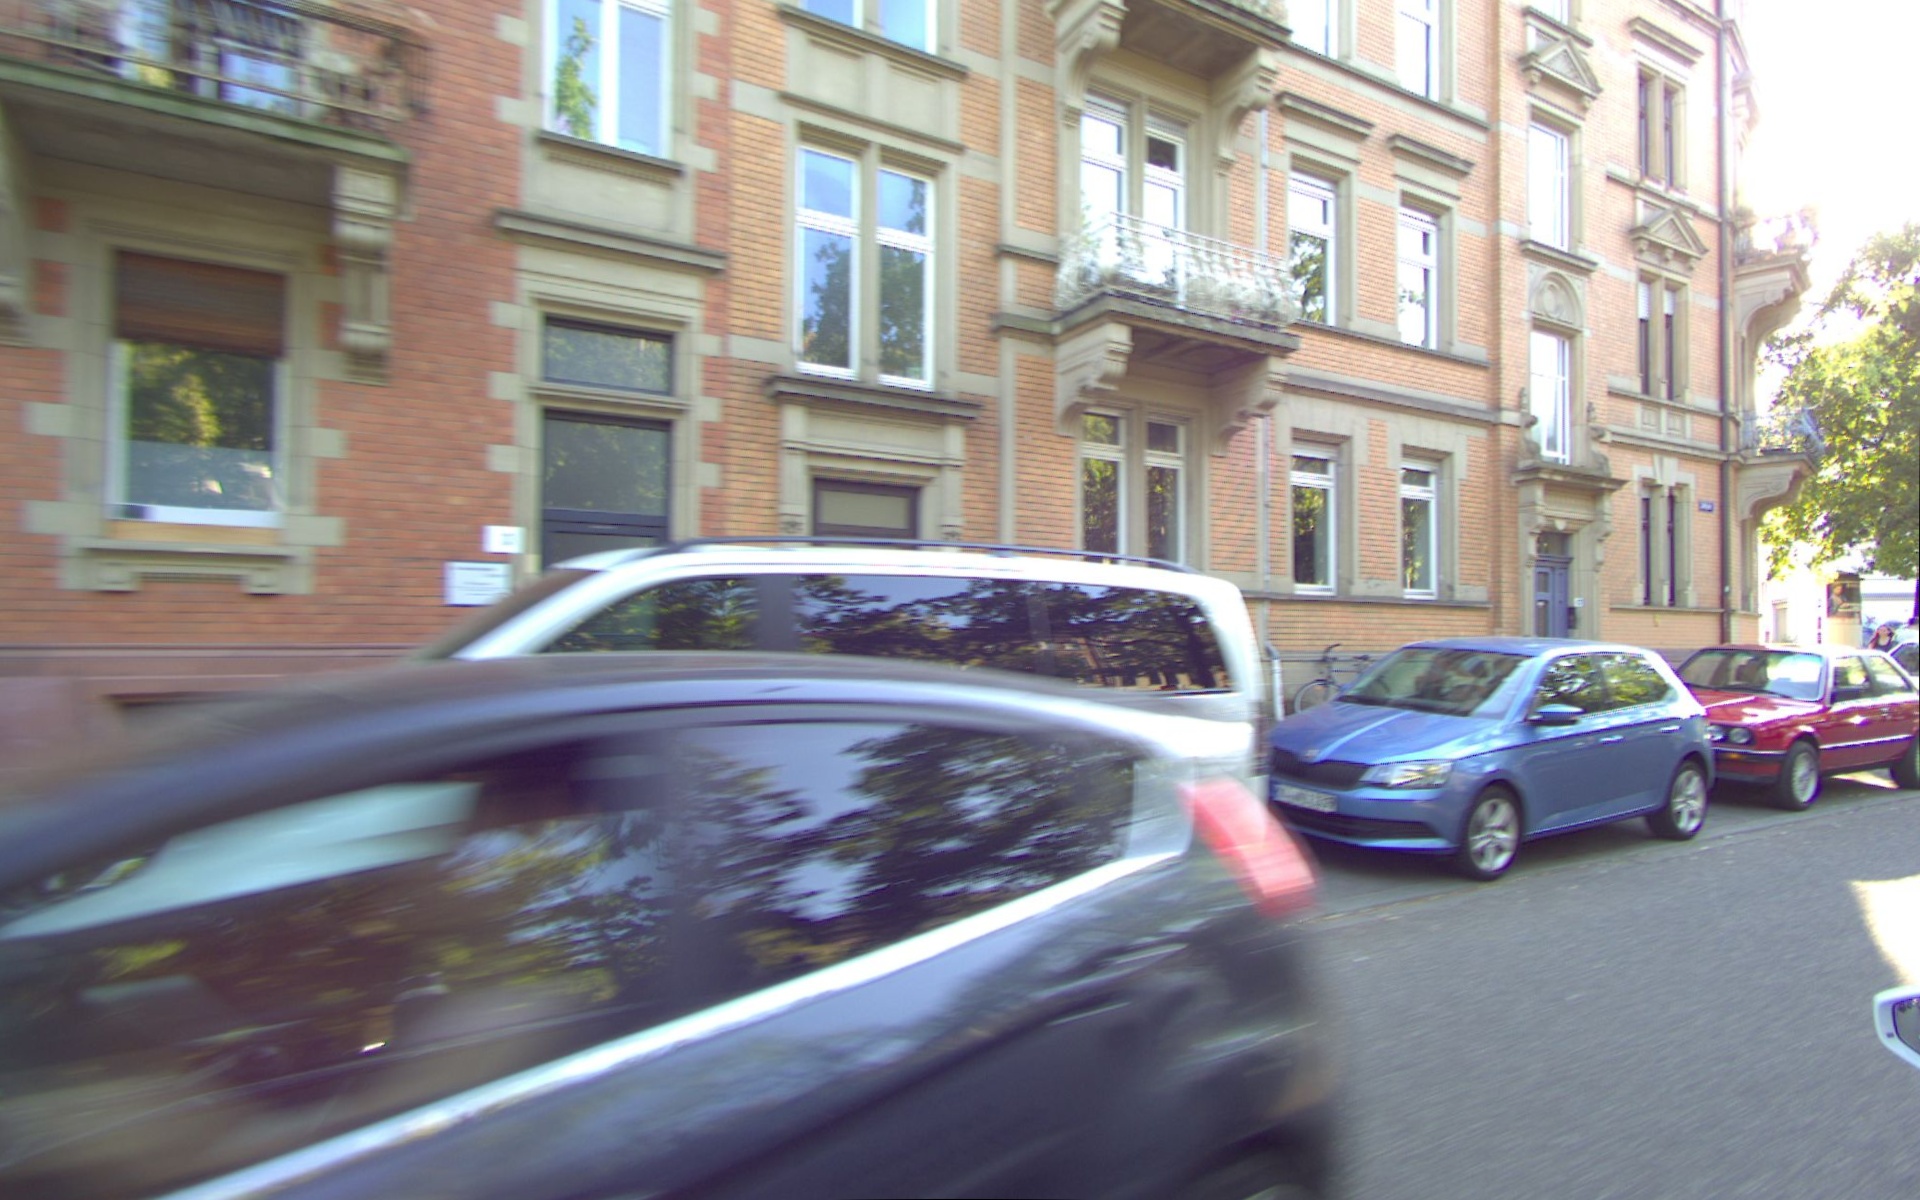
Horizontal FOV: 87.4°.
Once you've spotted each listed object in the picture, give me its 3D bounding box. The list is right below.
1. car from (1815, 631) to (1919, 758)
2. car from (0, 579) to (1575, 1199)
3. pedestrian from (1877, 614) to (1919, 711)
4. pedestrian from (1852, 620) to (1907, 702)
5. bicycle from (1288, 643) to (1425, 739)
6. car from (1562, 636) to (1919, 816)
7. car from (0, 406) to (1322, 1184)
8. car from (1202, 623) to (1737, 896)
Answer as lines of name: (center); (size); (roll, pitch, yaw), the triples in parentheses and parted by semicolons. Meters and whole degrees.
car: (12.890, 1.166, 12.831); (3.828, 1.448, 1.697); (1, 0, -28)
car: (-0.720, 0.781, 1.775); (3.961, 1.483, 1.657); (2, -4, -36)
pedestrian: (17.018, 1.099, 18.039); (0.700, 1.690, 0.594); (-1, -1, -30)
pedestrian: (18.401, 1.206, 20.108); (0.700, 1.571, 0.594); (-1, -1, -30)
bicycle: (5.247, 1.191, 13.243); (1.869, 1.162, 0.701); (3, -2, -33)
car: (8.050, 1.106, 10.008); (4.189, 1.448, 1.663); (1, -1, -29)
car: (-0.840, 0.621, 4.612); (4.982, 1.946, 1.984); (3, -2, -31)
car: (3.839, 0.962, 7.418); (3.953, 1.506, 1.662); (1, 0, -31)
